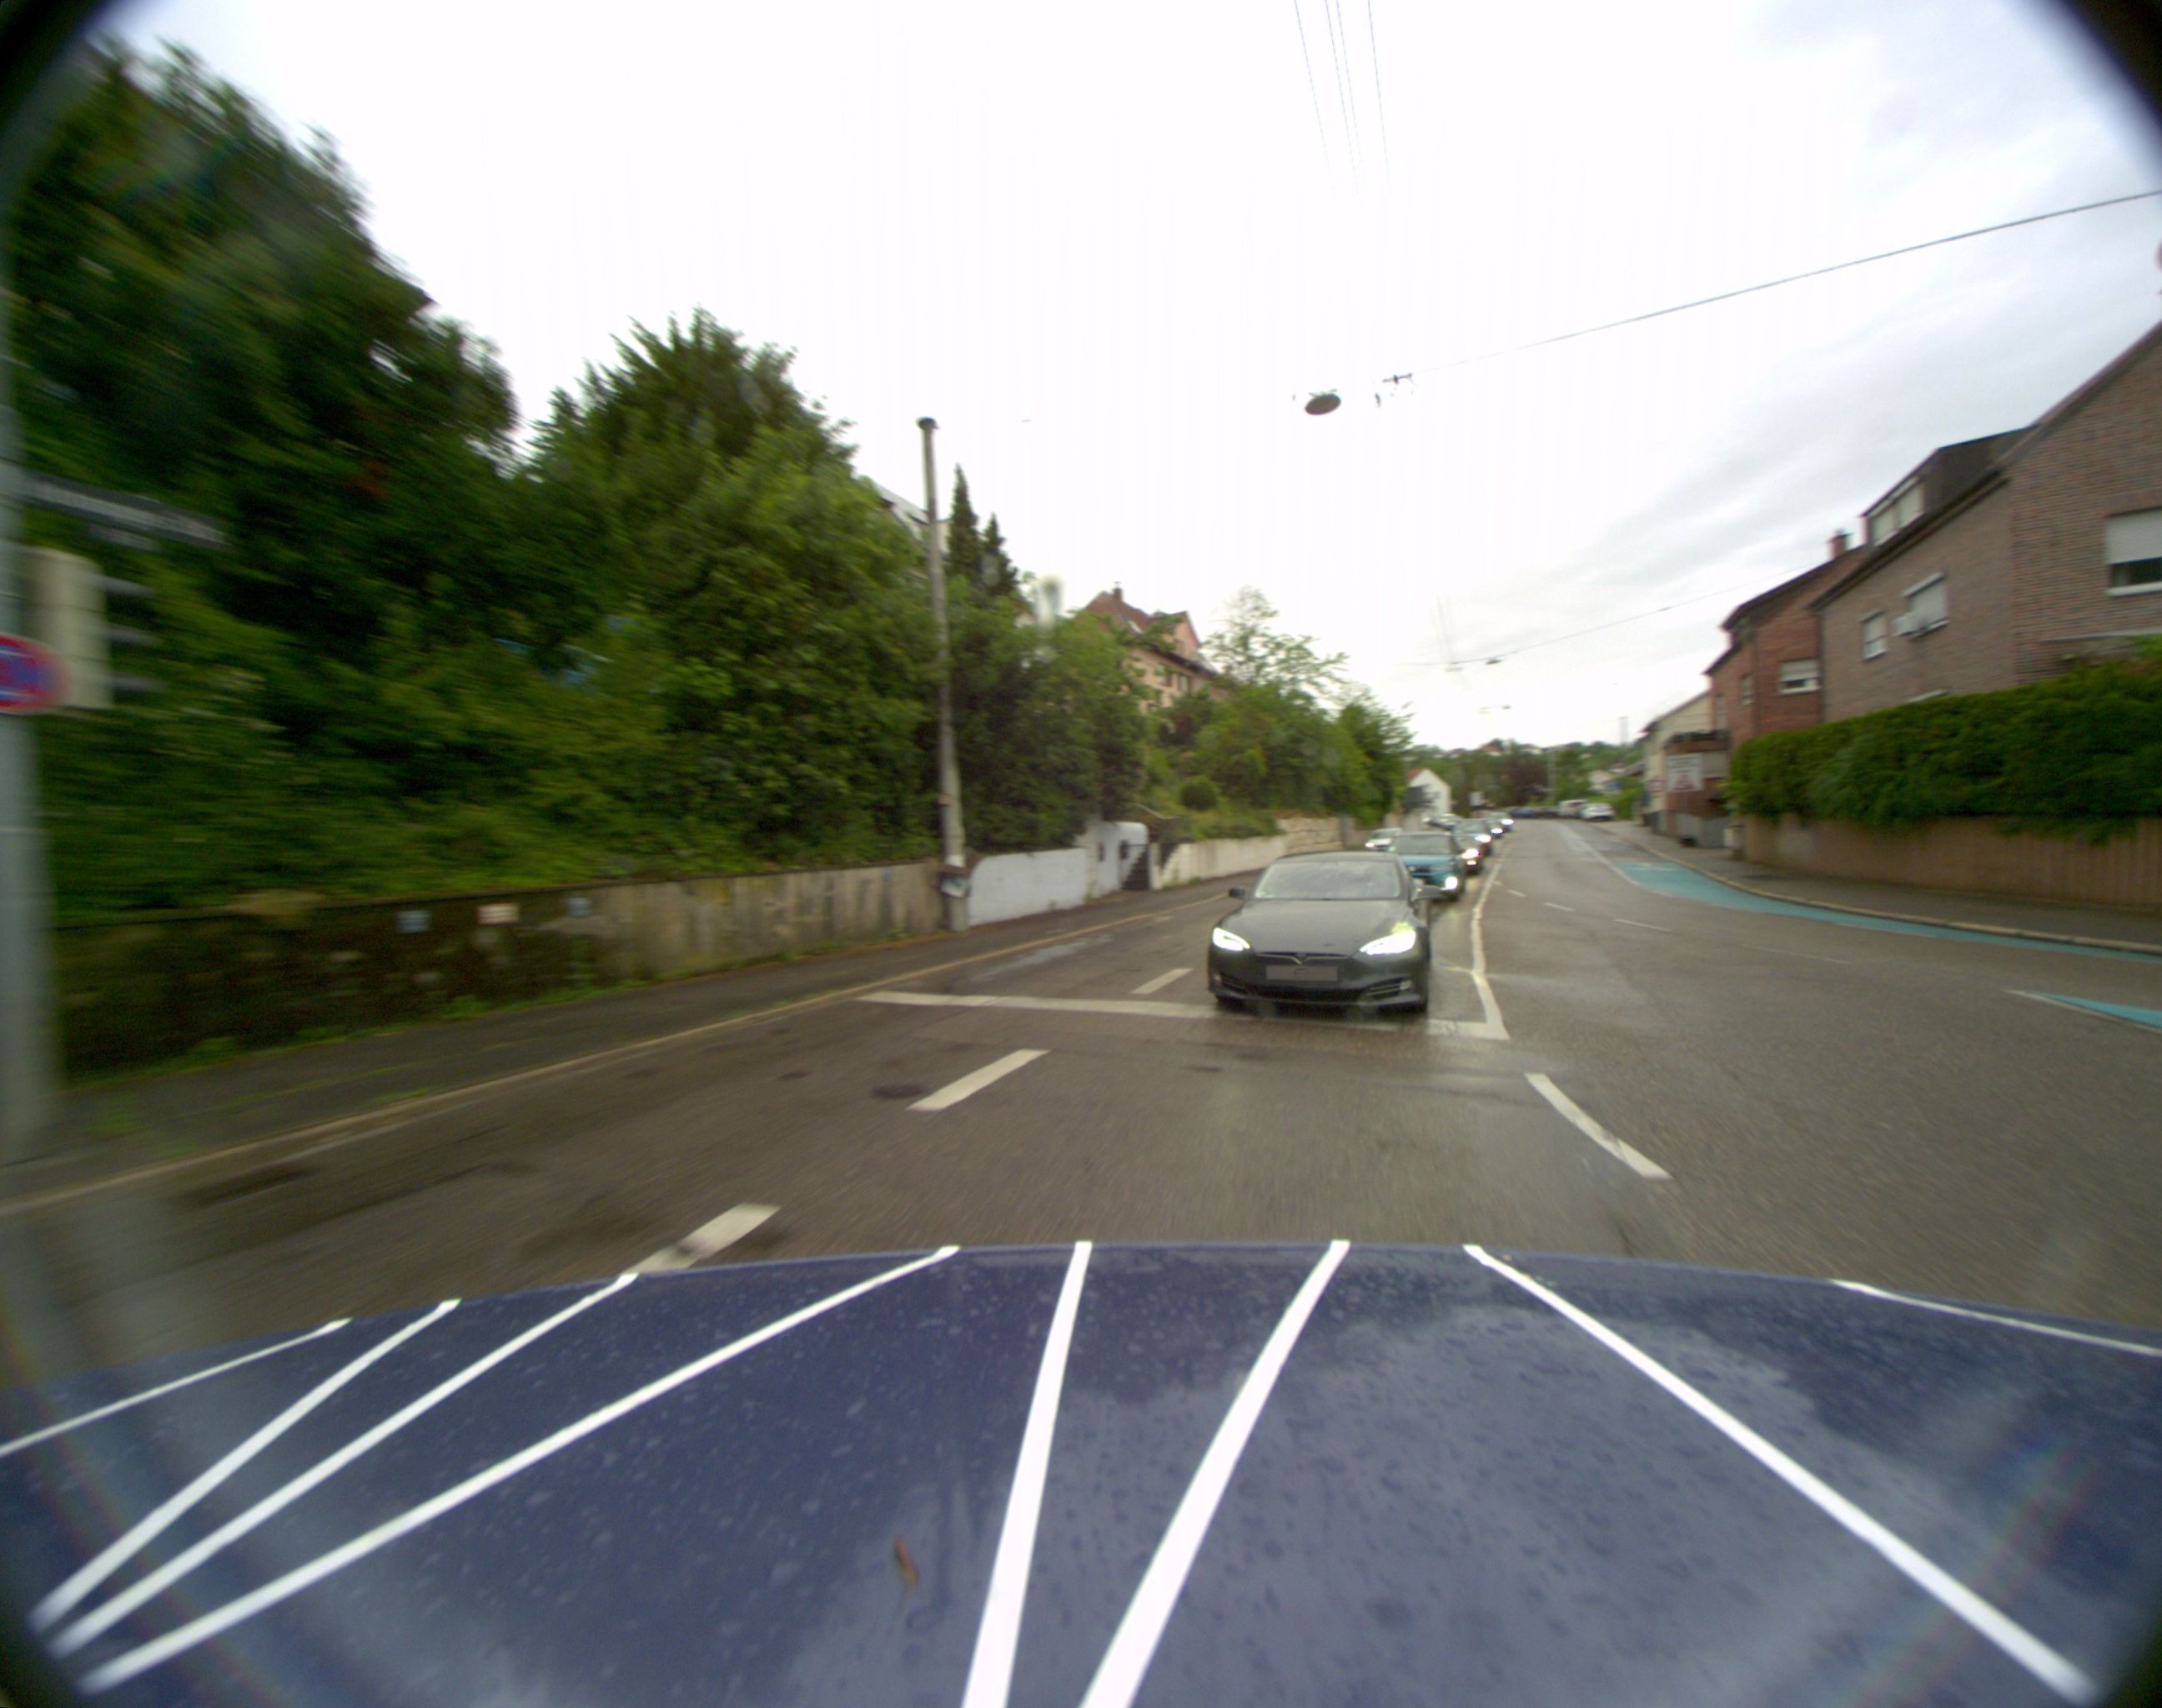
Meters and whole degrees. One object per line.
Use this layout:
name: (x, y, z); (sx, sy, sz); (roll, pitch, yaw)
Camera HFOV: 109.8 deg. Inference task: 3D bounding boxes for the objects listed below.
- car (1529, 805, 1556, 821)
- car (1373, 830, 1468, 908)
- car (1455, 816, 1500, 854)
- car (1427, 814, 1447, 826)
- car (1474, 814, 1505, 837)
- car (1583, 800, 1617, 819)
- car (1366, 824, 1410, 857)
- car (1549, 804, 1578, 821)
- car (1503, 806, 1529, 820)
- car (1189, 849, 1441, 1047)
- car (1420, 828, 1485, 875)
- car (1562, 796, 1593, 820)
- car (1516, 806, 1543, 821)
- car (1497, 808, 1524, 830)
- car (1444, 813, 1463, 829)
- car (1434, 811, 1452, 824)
car: (56.960, -5.013, 93.860); (1.770, 1.749, 4.328); (-2, 1, 16)
car: (8.088, 0.286, 18.006); (1.797, 1.601, 4.047); (-2, 1, 26)
car: (18.427, -0.902, 35.330); (1.755, 1.640, 4.048); (0, 2, 27)
car: (44.886, -4.267, 95.841); (1.613, 1.392, 3.368); (-3, 2, 16)
car: (28.138, -1.950, 52.411); (1.755, 1.452, 4.048); (0, 2, 27)
car: (47.679, -4.075, 69.878); (1.946, 1.601, 4.457); (-2, 1, 27)
car: (15.411, -0.716, 38.103); (1.549, 1.443, 3.370); (-2, 2, 30)
car: (55.723, -4.783, 87.788); (1.770, 1.749, 4.329); (-2, 1, 18)
car: (59.389, -5.573, 103.789); (1.770, 1.749, 4.327); (-2, 1, 11)
car: (2.752, 0.732, 8.103); (1.832, 1.384, 4.330); (-2, 1, 27)
car: (12.716, -0.141, 25.912); (1.755, 1.452, 4.048); (0, 2, 29)
car: (53.858, -4.971, 82.451); (2.008, 2.442, 4.456); (-2, 1, 24)
car: (58.388, -5.221, 99.025); (1.770, 1.749, 4.327); (-2, 1, 13)
car: (36.002, -2.908, 63.773); (1.755, 1.640, 4.047); (-4, 0, 27)
car: (37.041, -3.276, 75.668); (1.612, 1.392, 3.369); (-2, 2, 25)
car: (43.045, -4.403, 90.504); (1.612, 1.392, 3.369); (-3, 2, 21)
